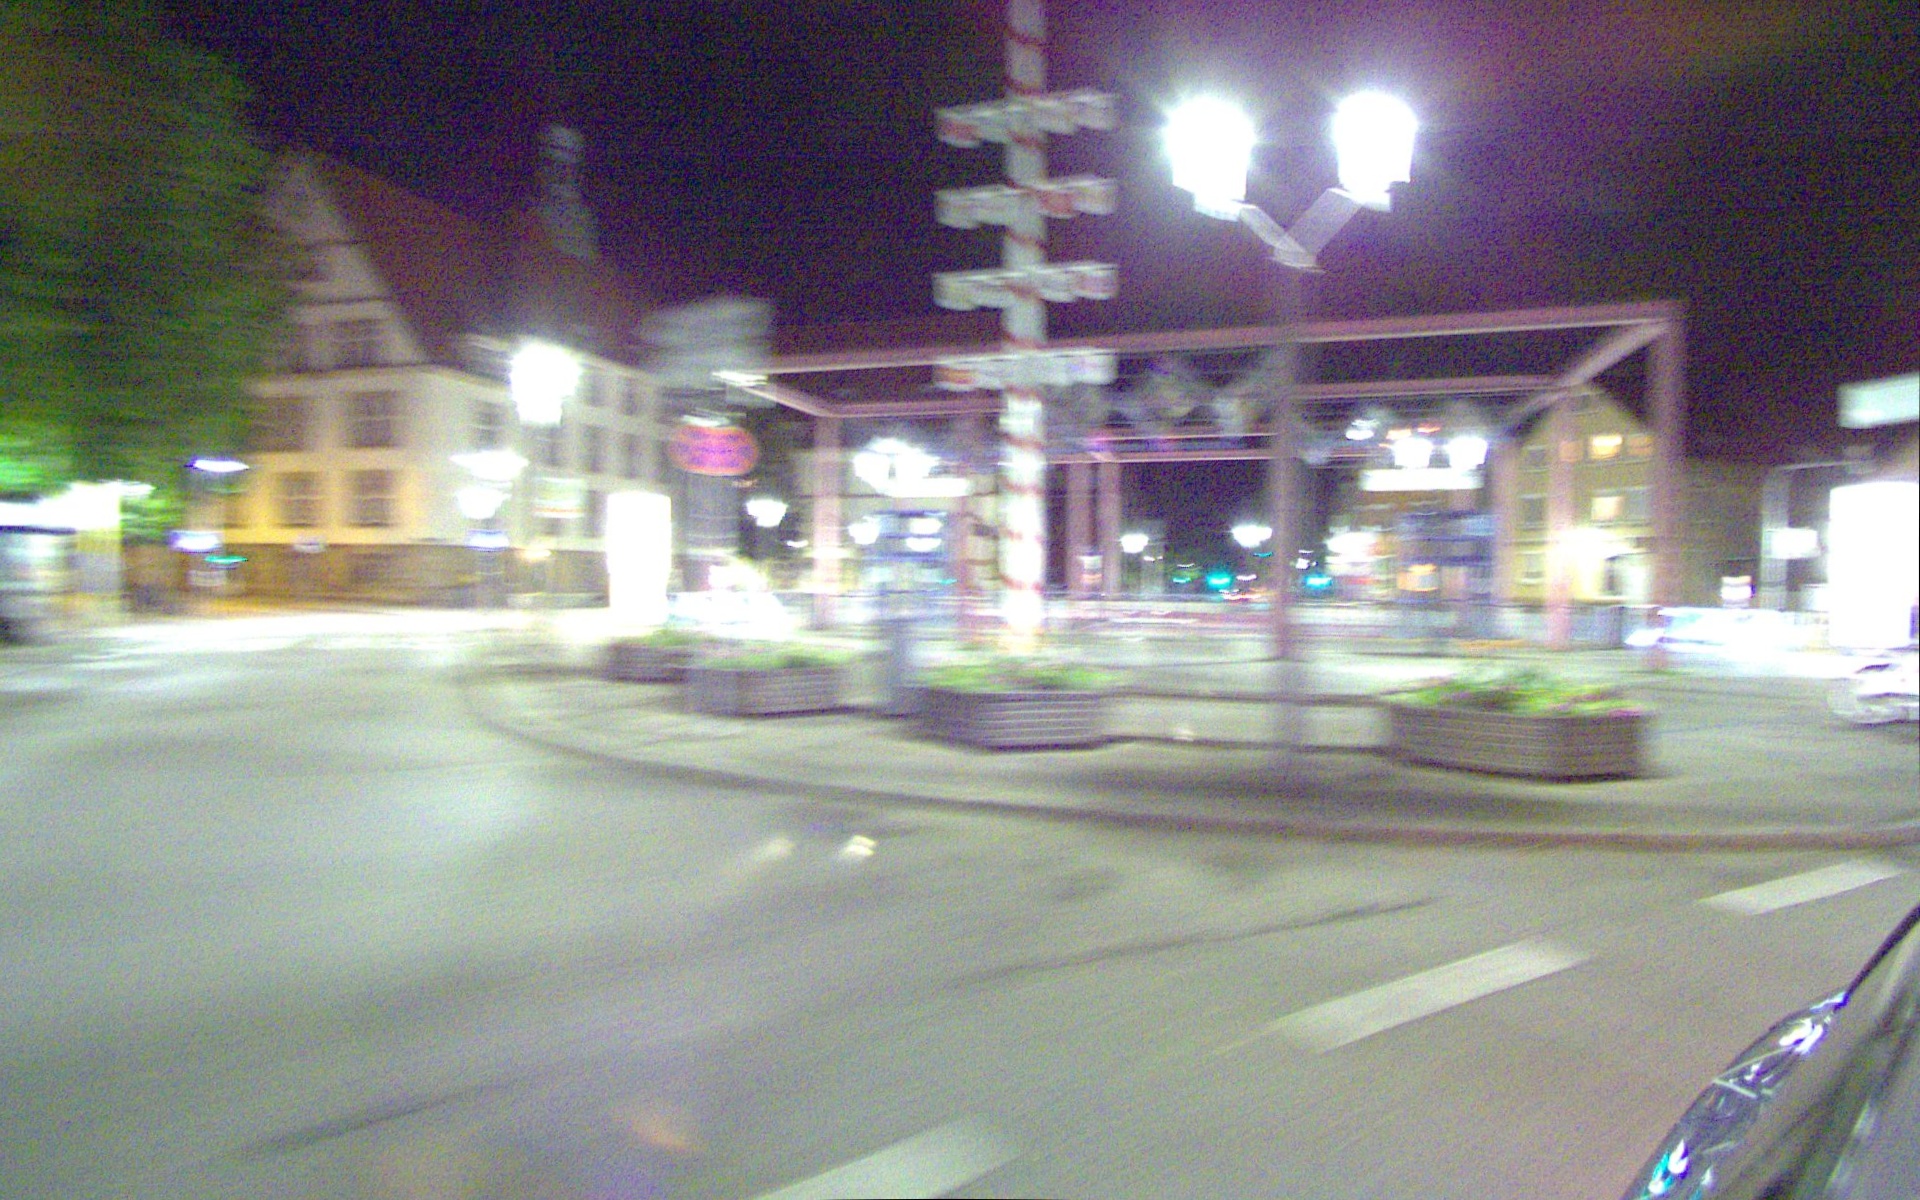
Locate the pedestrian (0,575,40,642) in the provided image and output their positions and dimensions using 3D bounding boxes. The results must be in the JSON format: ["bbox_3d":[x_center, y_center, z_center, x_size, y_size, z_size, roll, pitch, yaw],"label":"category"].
[{"bbox_3d":[-18.929,0.165,20.352,0.504,1.315,0.467,0,1,-25],"label":"pedestrian"}]

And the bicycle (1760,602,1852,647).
[{"bbox_3d":[22.731,0.646,27.212,1.775,1.142,0.648,1,1,11],"label":"bicycle"}]

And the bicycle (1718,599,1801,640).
[{"bbox_3d":[23.395,0.564,29.626,1.775,1.142,0.648,1,1,11],"label":"bicycle"}]

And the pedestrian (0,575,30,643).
[{"bbox_3d":[-18.731,0.177,19.915,0.504,1.315,0.467,0,1,-25],"label":"pedestrian"}]

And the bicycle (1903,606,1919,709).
[{"bbox_3d":[11.478,0.673,10.934,0.570,1.165,1.780,0,1,-30],"label":"bicycle"}]

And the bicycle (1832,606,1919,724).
[{"bbox_3d":[10.110,0.676,10.245,0.744,1.165,1.790,0,1,-30],"label":"bicycle"}]

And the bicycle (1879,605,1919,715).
[{"bbox_3d":[10.862,0.666,10.548,0.602,1.165,1.780,0,1,-30],"label":"bicycle"}]
